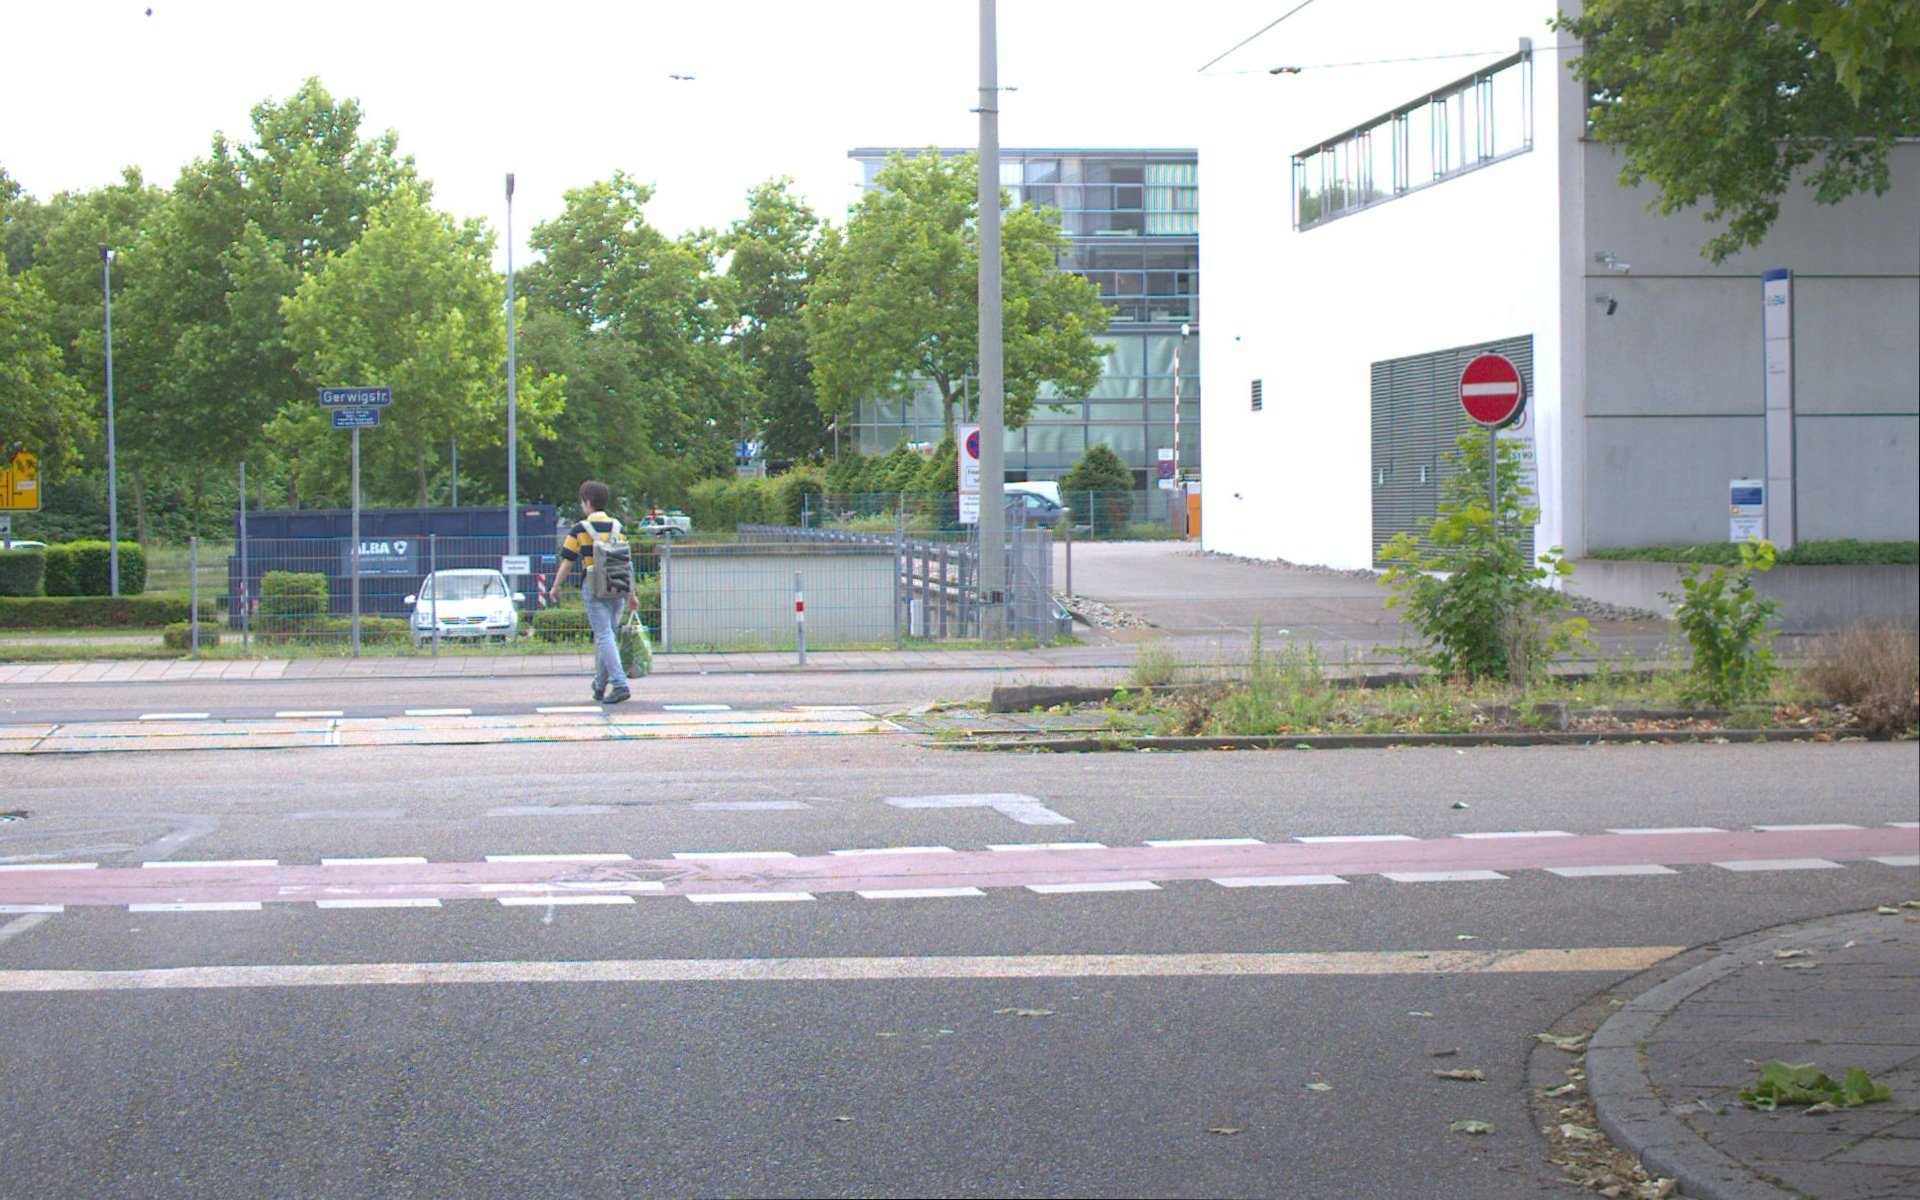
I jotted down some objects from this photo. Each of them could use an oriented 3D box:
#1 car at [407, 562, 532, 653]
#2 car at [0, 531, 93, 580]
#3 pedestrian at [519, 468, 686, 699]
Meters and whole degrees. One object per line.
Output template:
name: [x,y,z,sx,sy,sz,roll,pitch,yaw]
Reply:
car: [-8.167,0.102,57.537,1.930,1.398,4.082,-1,1,-6]
car: [-33.201,-1.605,123.056,1.916,1.715,4.294,0,1,25]
pedestrian: [-2.944,-0.151,28.208,1.000,1.843,1.229,-1,1,-25]
